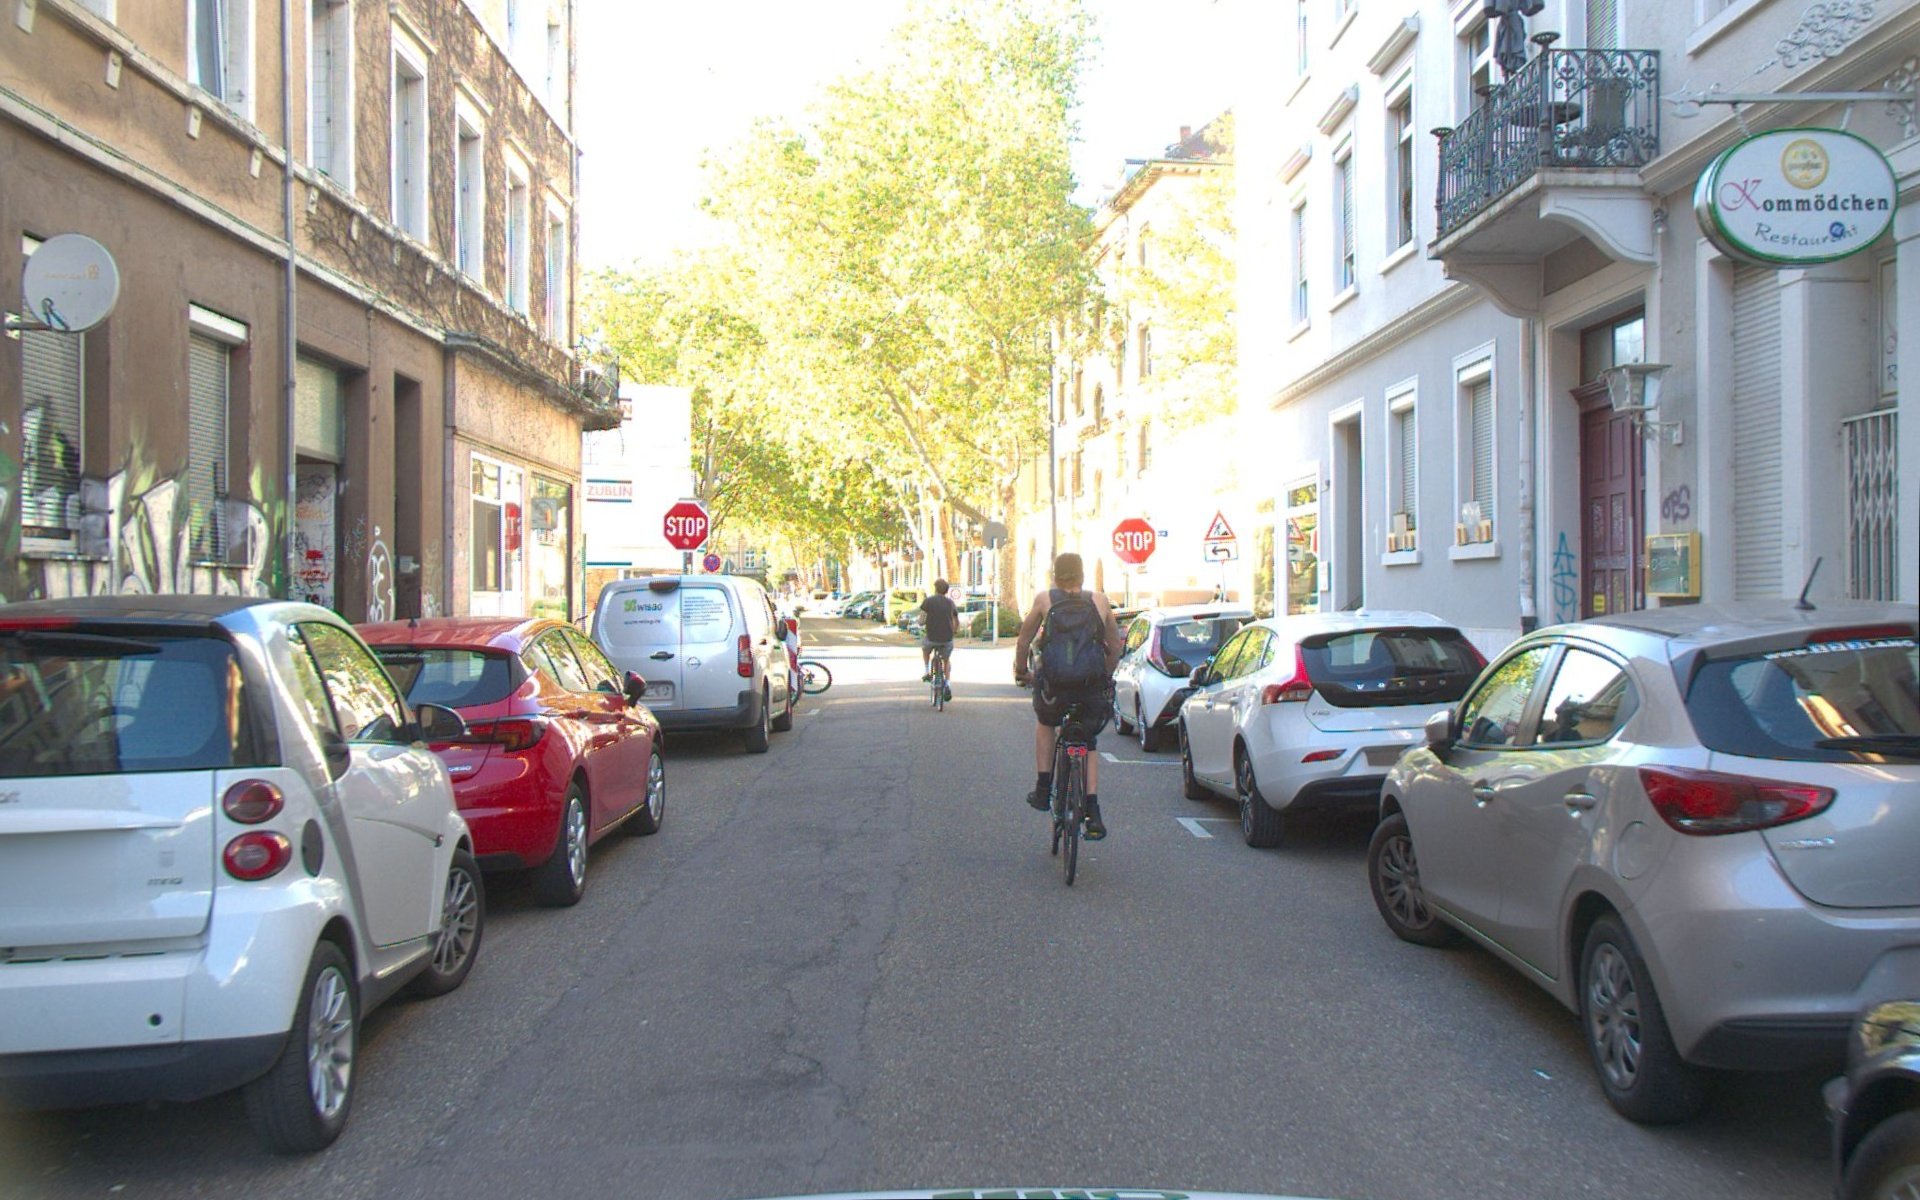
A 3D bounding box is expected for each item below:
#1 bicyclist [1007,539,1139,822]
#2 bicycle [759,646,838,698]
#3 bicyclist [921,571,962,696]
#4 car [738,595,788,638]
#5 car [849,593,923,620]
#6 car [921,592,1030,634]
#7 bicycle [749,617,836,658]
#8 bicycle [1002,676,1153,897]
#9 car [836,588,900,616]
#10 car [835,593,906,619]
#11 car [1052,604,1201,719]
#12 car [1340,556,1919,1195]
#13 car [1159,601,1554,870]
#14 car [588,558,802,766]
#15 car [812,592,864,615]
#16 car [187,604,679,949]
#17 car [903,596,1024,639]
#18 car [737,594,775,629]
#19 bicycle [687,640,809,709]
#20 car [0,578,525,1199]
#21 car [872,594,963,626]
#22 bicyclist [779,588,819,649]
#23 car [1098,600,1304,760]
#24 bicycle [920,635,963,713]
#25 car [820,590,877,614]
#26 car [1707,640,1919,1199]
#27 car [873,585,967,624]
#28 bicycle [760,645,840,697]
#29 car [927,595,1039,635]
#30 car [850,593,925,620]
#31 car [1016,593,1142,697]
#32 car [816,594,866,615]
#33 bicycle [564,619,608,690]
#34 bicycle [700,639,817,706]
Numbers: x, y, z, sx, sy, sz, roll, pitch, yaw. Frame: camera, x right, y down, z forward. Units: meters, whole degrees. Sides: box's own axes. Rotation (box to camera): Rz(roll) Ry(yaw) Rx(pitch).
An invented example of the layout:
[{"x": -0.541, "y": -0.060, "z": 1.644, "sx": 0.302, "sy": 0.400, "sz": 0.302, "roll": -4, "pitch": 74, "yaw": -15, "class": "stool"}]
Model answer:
[{"x": 0.631, "y": 0.441, "z": 9.430, "sx": 0.662, "sy": 1.539, "sz": 0.668, "roll": 1, "pitch": 0, "yaw": -1, "class": "bicyclist"}, {"x": -2.694, "y": 1.200, "z": 27.551, "sx": 1.285, "sy": 0.832, "sz": 0.370, "roll": 0, "pitch": 0, "yaw": -11, "class": "bicycle"}, {"x": -0.262, "y": 0.465, "z": 23.172, "sx": 0.531, "sy": 1.717, "sz": 0.653, "roll": 1, "pitch": -1, "yaw": -2, "class": "bicyclist"}, {"x": -7.475, "y": 0.594, "z": 62.573, "sx": 1.613, "sy": 1.520, "sz": 3.991, "roll": -2, "pitch": 1, "yaw": -10, "class": "car"}, {"x": -4.562, "y": 0.376, "z": 101.415, "sx": 4.379, "sy": 1.598, "sz": 1.725, "roll": 0, "pitch": 0, "yaw": -9, "class": "car"}, {"x": 0.635, "y": 0.537, "z": 69.800, "sx": 4.379, "sy": 1.700, "sz": 1.724, "roll": 0, "pitch": 0, "yaw": -9, "class": "car"}, {"x": -4.636, "y": 1.038, "z": 45.742, "sx": 2.377, "sy": 1.112, "sz": 0.894, "roll": 0, "pitch": -1, "yaw": -8, "class": "bicycle"}, {"x": 0.631, "y": 1.007, "z": 9.469, "sx": 0.675, "sy": 1.034, "sz": 1.907, "roll": 1, "pitch": 0, "yaw": -1, "class": "bicycle"}, {"x": -6.441, "y": 0.151, "z": 115.676, "sx": 4.379, "sy": 1.931, "sz": 1.724, "roll": 0, "pitch": 0, "yaw": -9, "class": "car"}, {"x": -5.749, "y": 0.384, "z": 106.050, "sx": 4.379, "sy": 1.598, "sz": 1.725, "roll": 0, "pitch": 0, "yaw": -9, "class": "car"}, {"x": 2.403, "y": 0.851, "z": 24.675, "sx": 1.612, "sy": 1.529, "sz": 3.952, "roll": 1, "pitch": 0, "yaw": -3, "class": "car"}, {"x": 2.745, "y": 0.721, "z": 6.344, "sx": 1.644, "sy": 1.625, "sz": 4.190, "roll": 1, "pitch": 0, "yaw": 1, "class": "car"}, {"x": 2.578, "y": 0.797, "z": 11.767, "sx": 1.645, "sy": 1.537, "sz": 4.188, "roll": 1, "pitch": 0, "yaw": -2, "class": "car"}, {"x": -2.806, "y": 0.605, "z": 18.430, "sx": 1.645, "sy": 1.943, "sz": 4.518, "roll": -3, "pitch": 0, "yaw": -1, "class": "car"}, {"x": -10.443, "y": 0.292, "z": 141.381, "sx": 4.379, "sy": 1.931, "sz": 1.724, "roll": 0, "pitch": 0, "yaw": -9, "class": "car"}, {"x": -2.761, "y": 0.806, "z": 9.668, "sx": 1.645, "sy": 1.499, "sz": 4.201, "roll": -2, "pitch": 0, "yaw": -3, "class": "car"}, {"x": 0.124, "y": 0.658, "z": 62.747, "sx": 4.379, "sy": 1.598, "sz": 1.725, "roll": 0, "pitch": 0, "yaw": -9, "class": "car"}, {"x": -9.684, "y": 0.526, "z": 78.370, "sx": 1.635, "sy": 1.590, "sz": 3.991, "roll": 0, "pitch": 0, "yaw": -10, "class": "car"}, {"x": -3.071, "y": 1.074, "z": 24.003, "sx": 1.729, "sy": 0.978, "sz": 0.405, "roll": 0, "pitch": 0, "yaw": -3, "class": "bicycle"}, {"x": -2.587, "y": 0.751, "z": 5.587, "sx": 1.646, "sy": 1.576, "sz": 2.957, "roll": -1, "pitch": 0, "yaw": -5, "class": "car"}, {"x": -2.150, "y": 0.482, "z": 82.581, "sx": 4.379, "sy": 1.598, "sz": 1.725, "roll": 0, "pitch": 0, "yaw": -9, "class": "car"}, {"x": -4.464, "y": 0.504, "z": 45.778, "sx": 1.076, "sy": 1.668, "sz": 0.894, "roll": 0, "pitch": -1, "yaw": -8, "class": "bicyclist"}, {"x": 2.645, "y": 0.826, "z": 18.920, "sx": 1.604, "sy": 1.614, "sz": 3.786, "roll": 1, "pitch": 0, "yaw": -3, "class": "car"}, {"x": -0.271, "y": 1.014, "z": 23.226, "sx": 0.540, "sy": 1.034, "sz": 1.628, "roll": 1, "pitch": -1, "yaw": -2, "class": "bicycle"}, {"x": -8.815, "y": 0.162, "z": 131.037, "sx": 4.379, "sy": 1.931, "sz": 1.724, "roll": 0, "pitch": 0, "yaw": -9, "class": "car"}, {"x": 2.674, "y": 0.824, "z": 1.603, "sx": 1.732, "sy": 1.419, "sz": 4.493, "roll": 1, "pitch": 0, "yaw": -2, "class": "car"}, {"x": -1.964, "y": 0.208, "z": 80.574, "sx": 4.380, "sy": 1.868, "sz": 1.724, "roll": 0, "pitch": 0, "yaw": -10, "class": "car"}, {"x": -2.628, "y": 1.163, "z": 27.179, "sx": 1.285, "sy": 0.832, "sz": 0.354, "roll": 0, "pitch": 0, "yaw": -11, "class": "bicycle"}, {"x": 0.930, "y": 0.607, "z": 67.738, "sx": 4.379, "sy": 1.598, "sz": 1.725, "roll": 0, "pitch": 0, "yaw": -9, "class": "car"}, {"x": -4.350, "y": 0.365, "z": 98.949, "sx": 4.379, "sy": 1.598, "sz": 1.725, "roll": 0, "pitch": 0, "yaw": -9, "class": "car"}, {"x": 2.051, "y": 0.743, "z": 29.538, "sx": 1.725, "sy": 1.691, "sz": 4.195, "roll": 1, "pitch": 0, "yaw": -3, "class": "car"}, {"x": -10.803, "y": 0.412, "z": 150.269, "sx": 4.379, "sy": 1.931, "sz": 1.724, "roll": 0, "pitch": 0, "yaw": -9, "class": "car"}, {"x": -6.084, "y": 0.869, "z": 26.961, "sx": 0.389, "sy": 1.111, "sz": 1.591, "roll": 0, "pitch": -1, "yaw": -1, "class": "bicycle"}, {"x": -3.092, "y": 1.099, "z": 25.389, "sx": 1.734, "sy": 0.978, "sz": 0.480, "roll": 0, "pitch": 0, "yaw": -14, "class": "bicycle"}]
